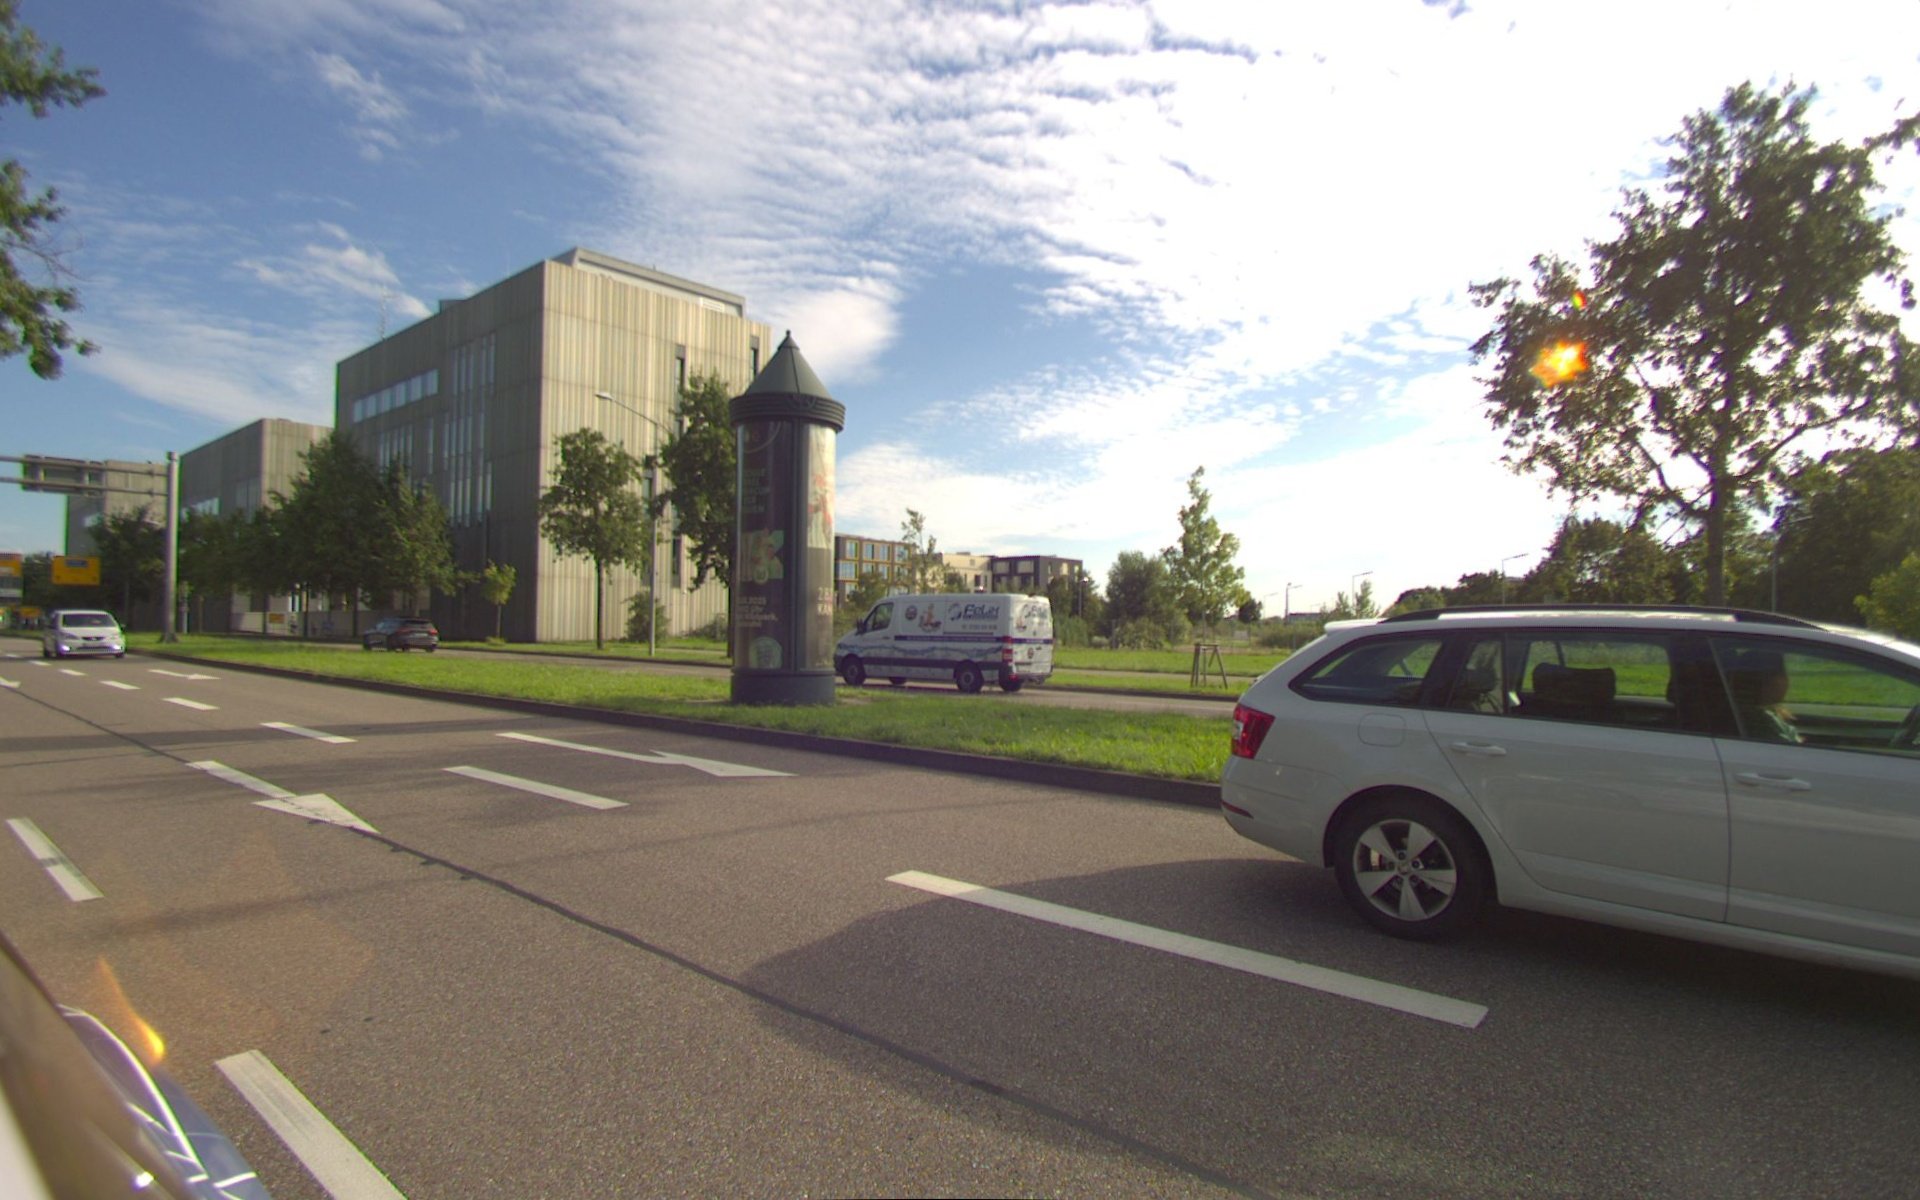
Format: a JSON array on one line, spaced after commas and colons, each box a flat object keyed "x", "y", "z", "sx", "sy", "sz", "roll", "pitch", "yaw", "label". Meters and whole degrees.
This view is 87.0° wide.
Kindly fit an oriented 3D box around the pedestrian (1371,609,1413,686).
[{"x": 11.679, "y": 1.278, "z": 27.368, "sx": 0.867, "sy": 2.029, "sz": 0.667, "roll": -1, "pitch": -3, "yaw": 41, "label": "pedestrian"}]

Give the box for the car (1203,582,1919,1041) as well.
[{"x": 3.441, "y": 0.705, "z": 4.202, "sx": 4.479, "sy": 1.510, "sz": 1.681, "roll": -1, "pitch": -1, "yaw": 41, "label": "car"}]

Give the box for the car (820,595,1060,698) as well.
[{"x": -0.603, "y": 1.111, "z": 24.718, "sx": 5.917, "sy": 2.252, "sz": 1.974, "roll": -1, "pitch": -4, "yaw": 38, "label": "car"}]

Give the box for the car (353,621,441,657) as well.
[{"x": -23.956, "y": 1.634, "z": 43.003, "sx": 4.205, "sy": 1.420, "sz": 1.881, "roll": -1, "pitch": -4, "yaw": 41, "label": "car"}]

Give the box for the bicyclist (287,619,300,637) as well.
[{"x": -58.198, "y": 2.415, "z": 88.400, "sx": 0.989, "sy": 1.537, "sz": 0.698, "roll": -1, "pitch": -3, "yaw": 41, "label": "bicyclist"}]

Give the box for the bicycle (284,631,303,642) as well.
[{"x": -58.187, "y": 3.172, "z": 88.360, "sx": 1.910, "sy": 0.989, "sz": 0.885, "roll": -1, "pitch": -3, "yaw": 41, "label": "bicycle"}]

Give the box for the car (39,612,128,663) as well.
[{"x": -27.368, "y": 1.118, "z": 31.568, "sx": 4.001, "sy": 1.475, "sz": 1.722, "roll": -1, "pitch": -1, "yaw": 44, "label": "car"}]
